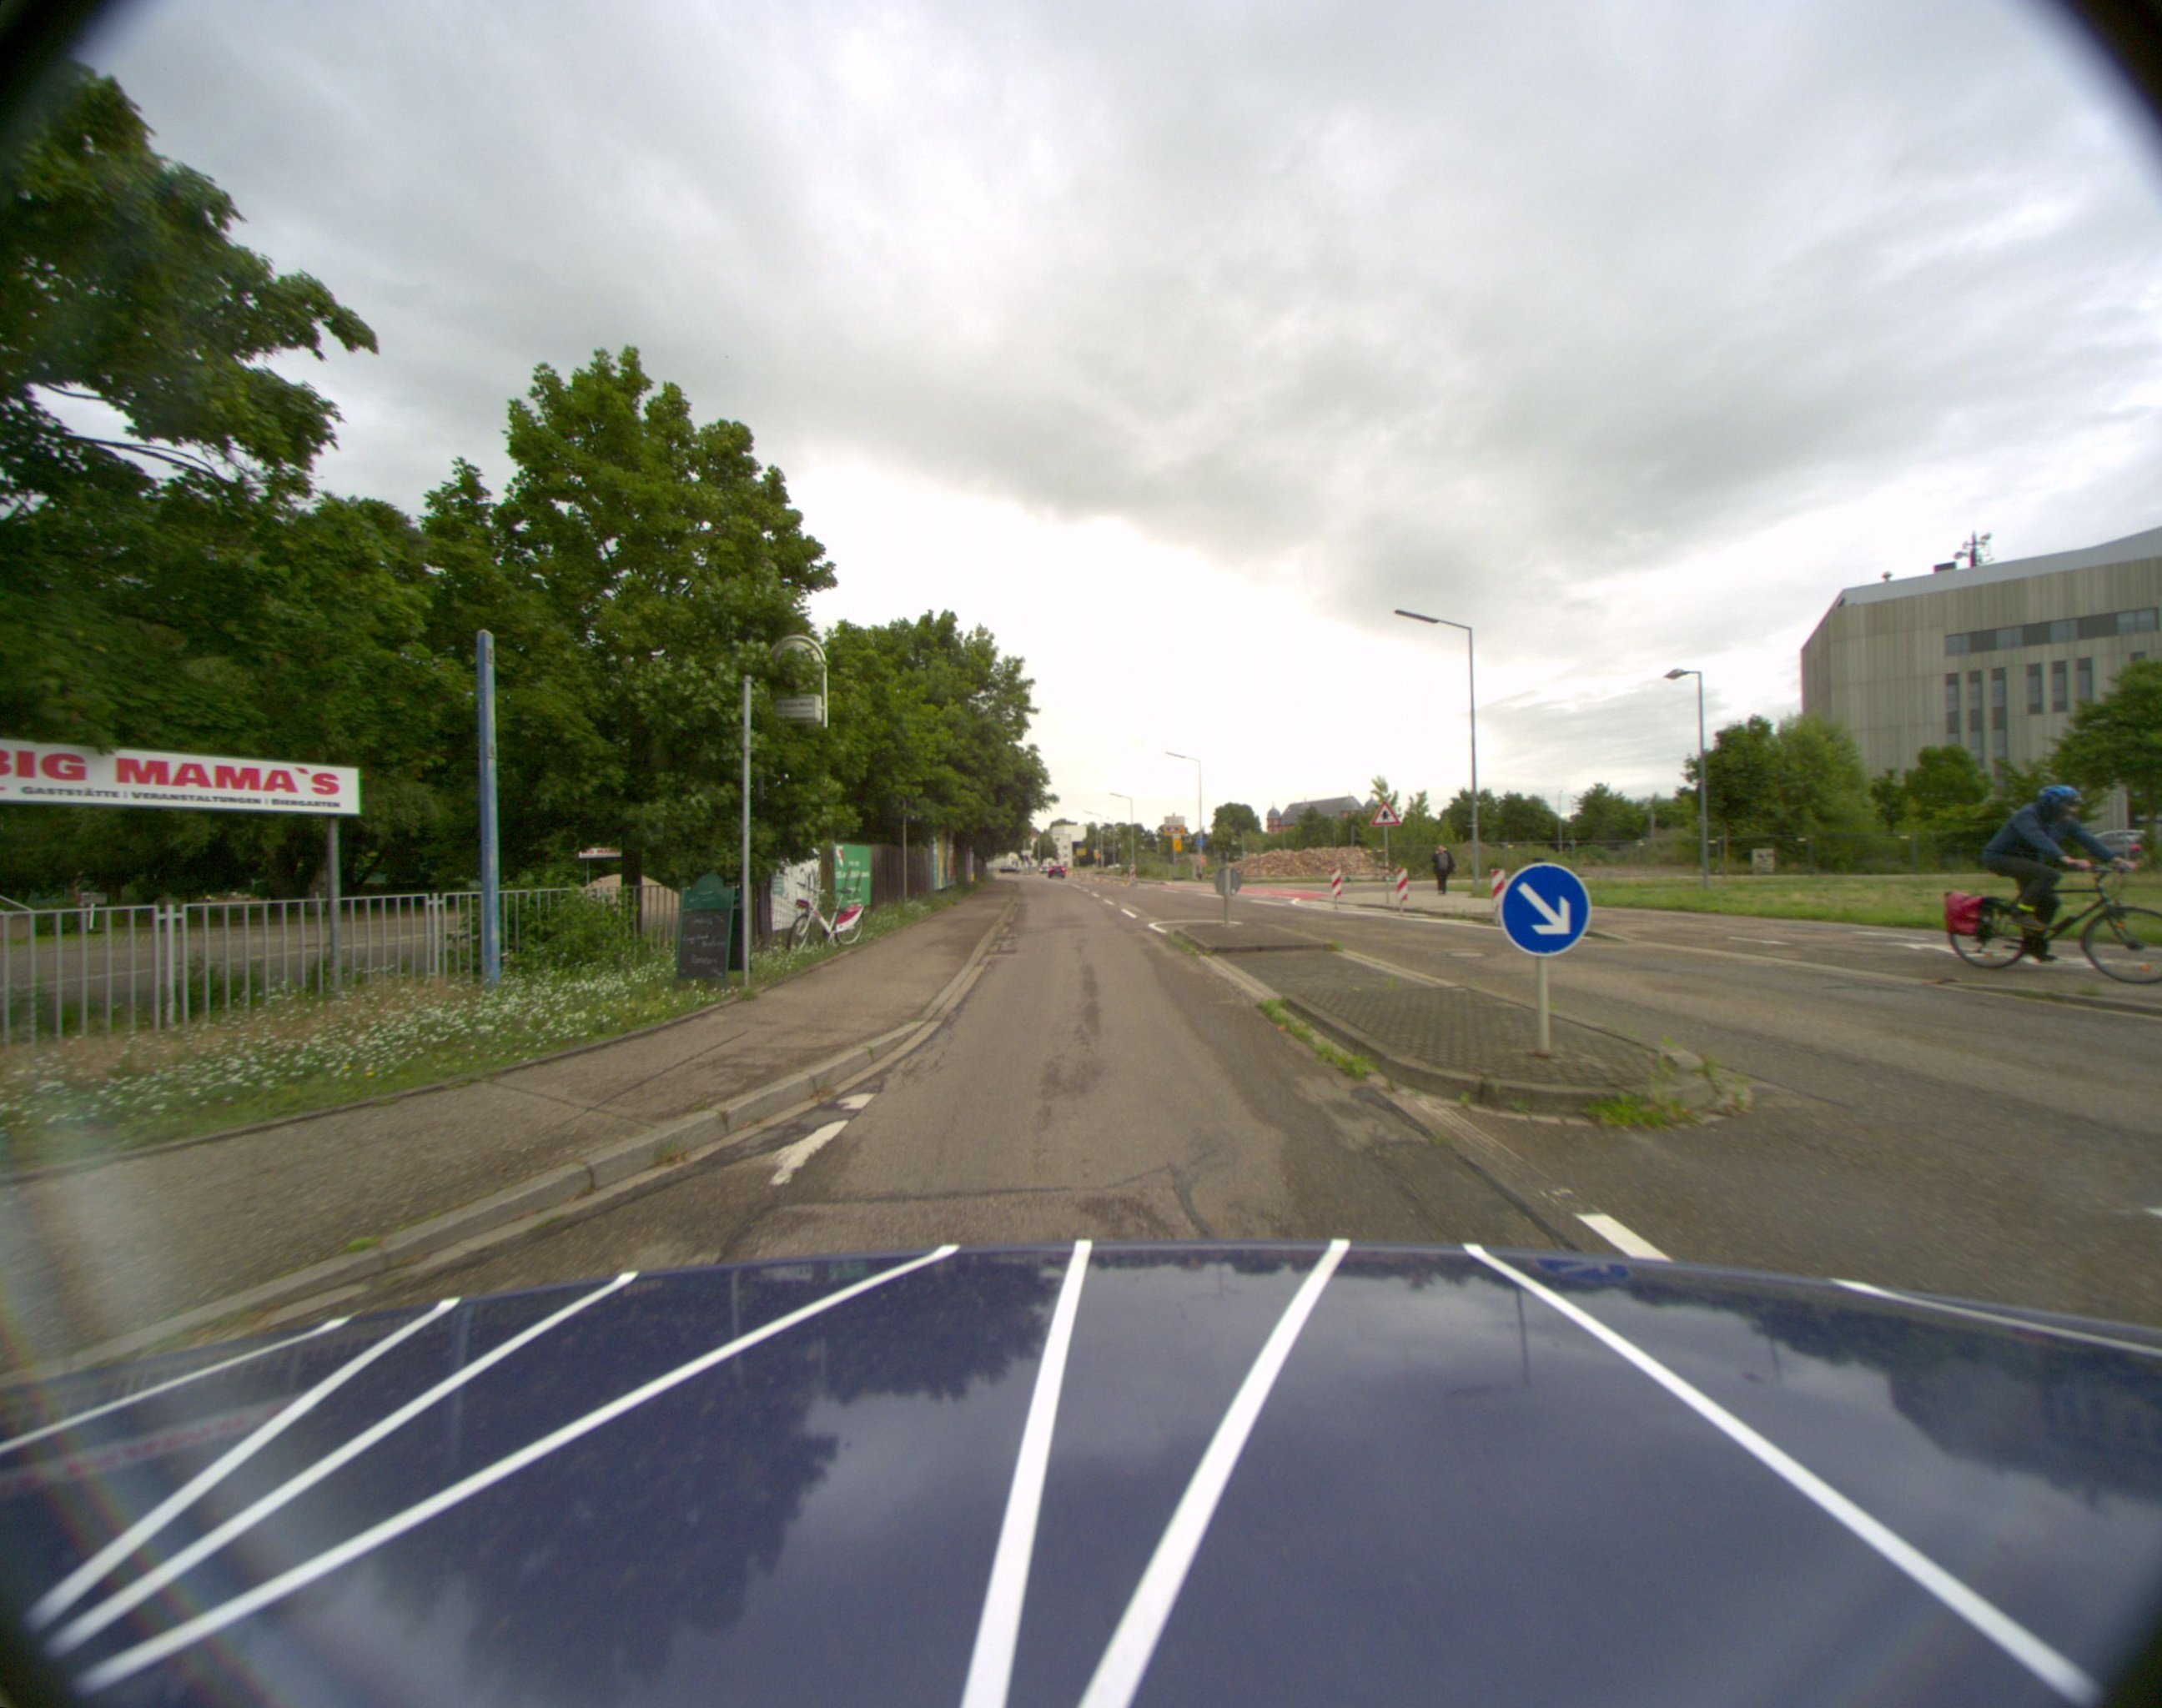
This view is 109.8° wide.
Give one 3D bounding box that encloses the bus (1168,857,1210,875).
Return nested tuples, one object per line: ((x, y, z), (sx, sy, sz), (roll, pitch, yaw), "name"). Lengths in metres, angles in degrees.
((22.981, 2.601, 161.446), (8.376, 3.626, 2.740), (-3, -2, 35), "bus")

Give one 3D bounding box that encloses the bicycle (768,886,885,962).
((-4.165, 1.116, 12.621), (0.796, 1.104, 1.955), (-2, -1, 19), "bicycle")

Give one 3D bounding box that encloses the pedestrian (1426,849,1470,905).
((12.104, 0.755, 25.103), (0.846, 1.772, 1.077), (-1, -1, -3), "pedestrian")

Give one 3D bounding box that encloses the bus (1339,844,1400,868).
((52.102, 0.372, 137.365), (9.864, 3.957, 2.740), (-3, -2, 39), "bus")

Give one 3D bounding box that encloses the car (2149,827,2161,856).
((68.172, -0.822, 46.144), (3.470, 1.751, 1.731), (-3, -1, 37), "car")

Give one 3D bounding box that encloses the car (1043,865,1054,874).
((-5.903, 2.797, 138.424), (1.756, 1.578, 3.900), (1, -1, -6), "car")

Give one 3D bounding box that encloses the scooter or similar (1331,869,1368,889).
((15.715, 1.465, 44.560), (1.898, 1.135, 0.658), (-3, 0, 41), "scooter or similar")

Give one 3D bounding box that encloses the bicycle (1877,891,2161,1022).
((9.593, 0.923, 7.450), (0.886, 1.046, 2.469), (-1, -2, -2), "bicycle")

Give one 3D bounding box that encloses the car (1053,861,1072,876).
((-2.116, 1.687, 86.513), (1.886, 1.557, 4.358), (-1, -2, -4), "car")

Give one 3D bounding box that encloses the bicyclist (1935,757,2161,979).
((9.570, 0.136, 7.502), (0.864, 2.001, 1.177), (-1, -1, -2), "bicyclist")

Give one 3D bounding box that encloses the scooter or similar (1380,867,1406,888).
((18.035, 1.358, 43.981), (1.335, 1.135, 0.412), (-2, 1, 26), "scooter or similar")
